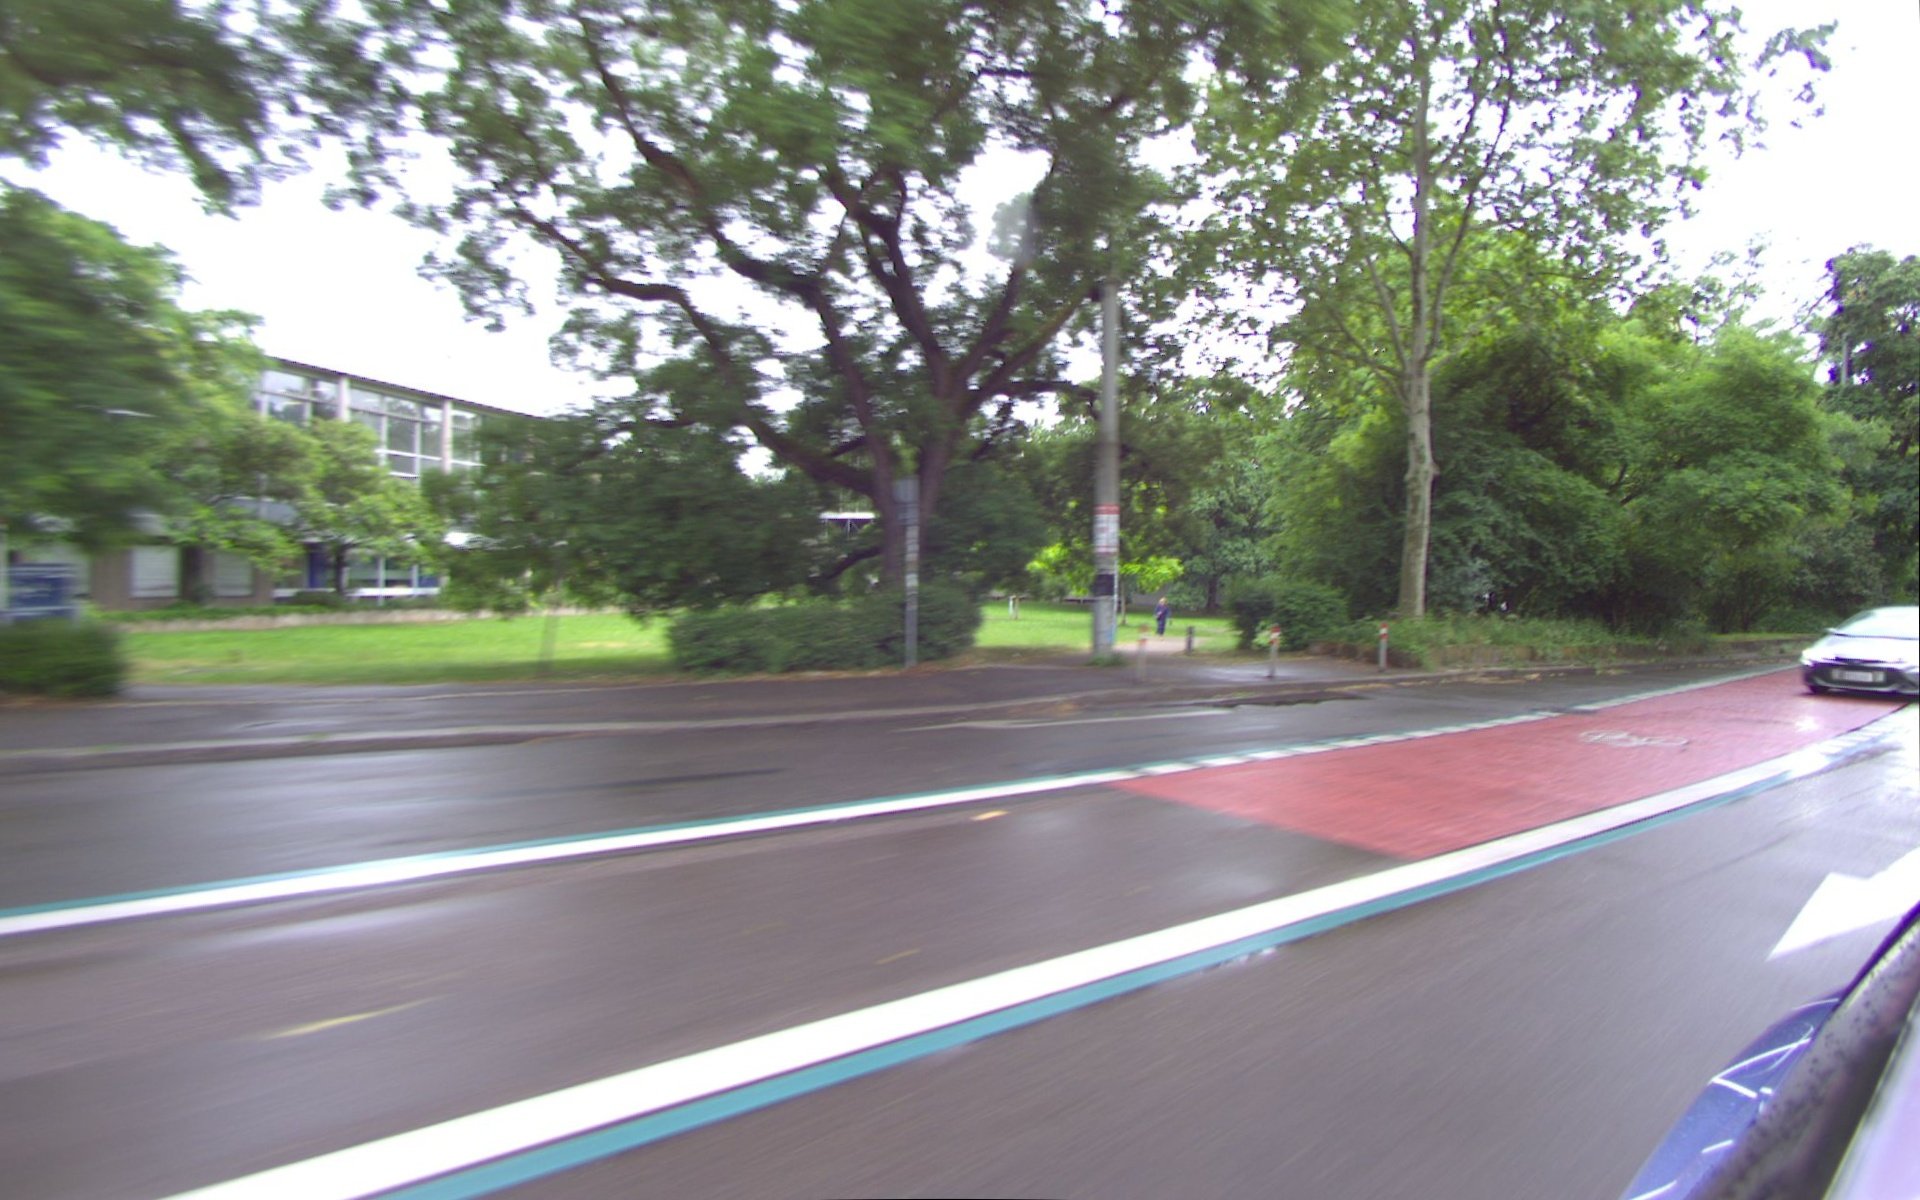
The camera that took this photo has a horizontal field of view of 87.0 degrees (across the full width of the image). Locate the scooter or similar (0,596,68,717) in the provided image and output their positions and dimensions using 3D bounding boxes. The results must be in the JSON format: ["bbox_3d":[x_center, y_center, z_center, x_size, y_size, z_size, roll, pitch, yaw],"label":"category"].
[{"bbox_3d":[-9.914,0.525,9.787,1.851,1.114,0.560,2,3,-17],"label":"scooter or similar"}]

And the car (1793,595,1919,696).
[{"bbox_3d":[15.817,0.700,16.542,4.314,1.468,1.871,1,0,-28],"label":"car"}]
